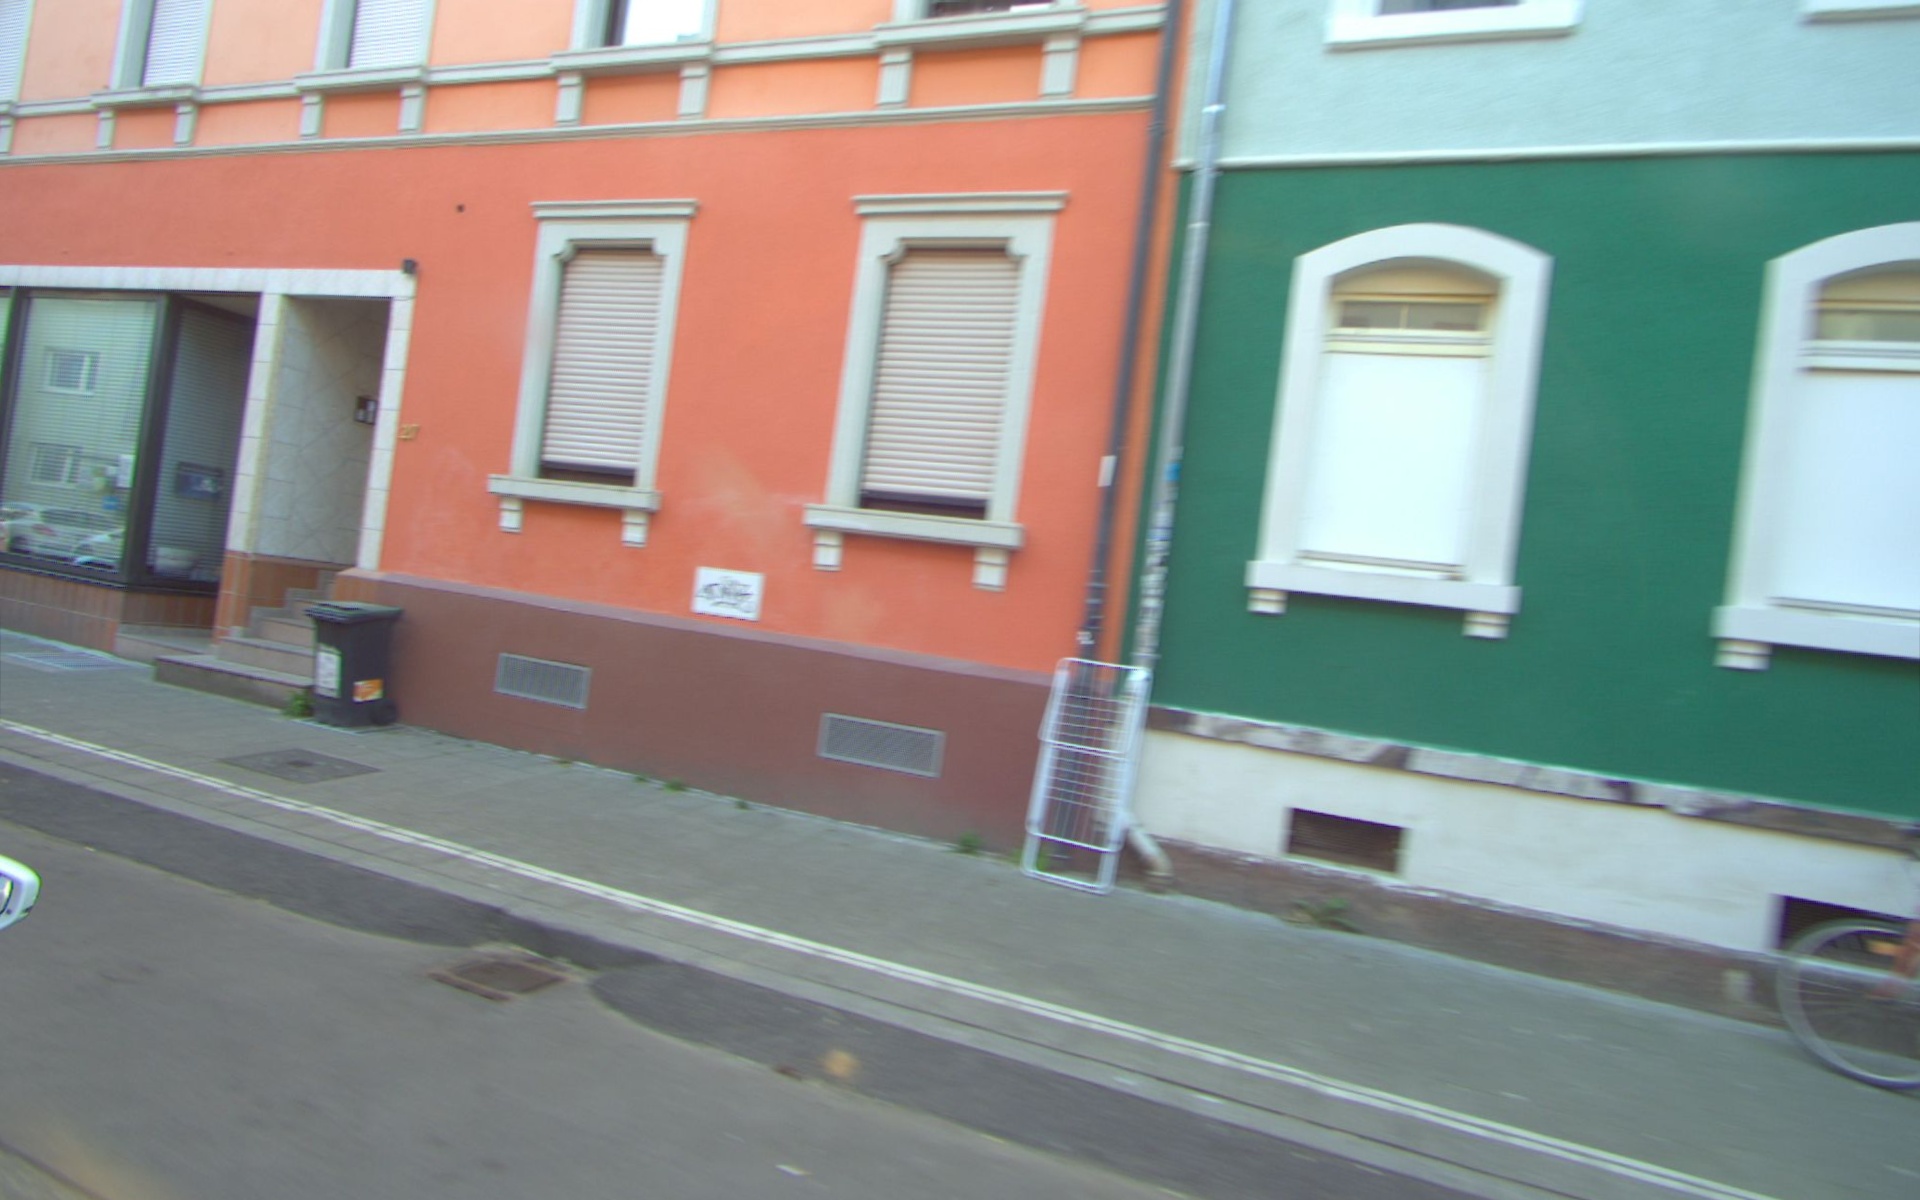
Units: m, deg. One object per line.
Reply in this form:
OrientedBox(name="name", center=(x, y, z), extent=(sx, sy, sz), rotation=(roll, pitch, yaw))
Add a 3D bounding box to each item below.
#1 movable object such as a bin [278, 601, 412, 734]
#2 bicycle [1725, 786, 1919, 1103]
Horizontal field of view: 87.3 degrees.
OrientedBox(name="movable object such as a bin", center=(-4.698, 0.499, 7.707), extent=(0.568, 0.917, 0.599), rotation=(6, 1, 19))
OrientedBox(name="bicycle", center=(4.550, 1.570, 4.303), extent=(1.800, 1.144, 0.656), rotation=(7, 3, 20))
